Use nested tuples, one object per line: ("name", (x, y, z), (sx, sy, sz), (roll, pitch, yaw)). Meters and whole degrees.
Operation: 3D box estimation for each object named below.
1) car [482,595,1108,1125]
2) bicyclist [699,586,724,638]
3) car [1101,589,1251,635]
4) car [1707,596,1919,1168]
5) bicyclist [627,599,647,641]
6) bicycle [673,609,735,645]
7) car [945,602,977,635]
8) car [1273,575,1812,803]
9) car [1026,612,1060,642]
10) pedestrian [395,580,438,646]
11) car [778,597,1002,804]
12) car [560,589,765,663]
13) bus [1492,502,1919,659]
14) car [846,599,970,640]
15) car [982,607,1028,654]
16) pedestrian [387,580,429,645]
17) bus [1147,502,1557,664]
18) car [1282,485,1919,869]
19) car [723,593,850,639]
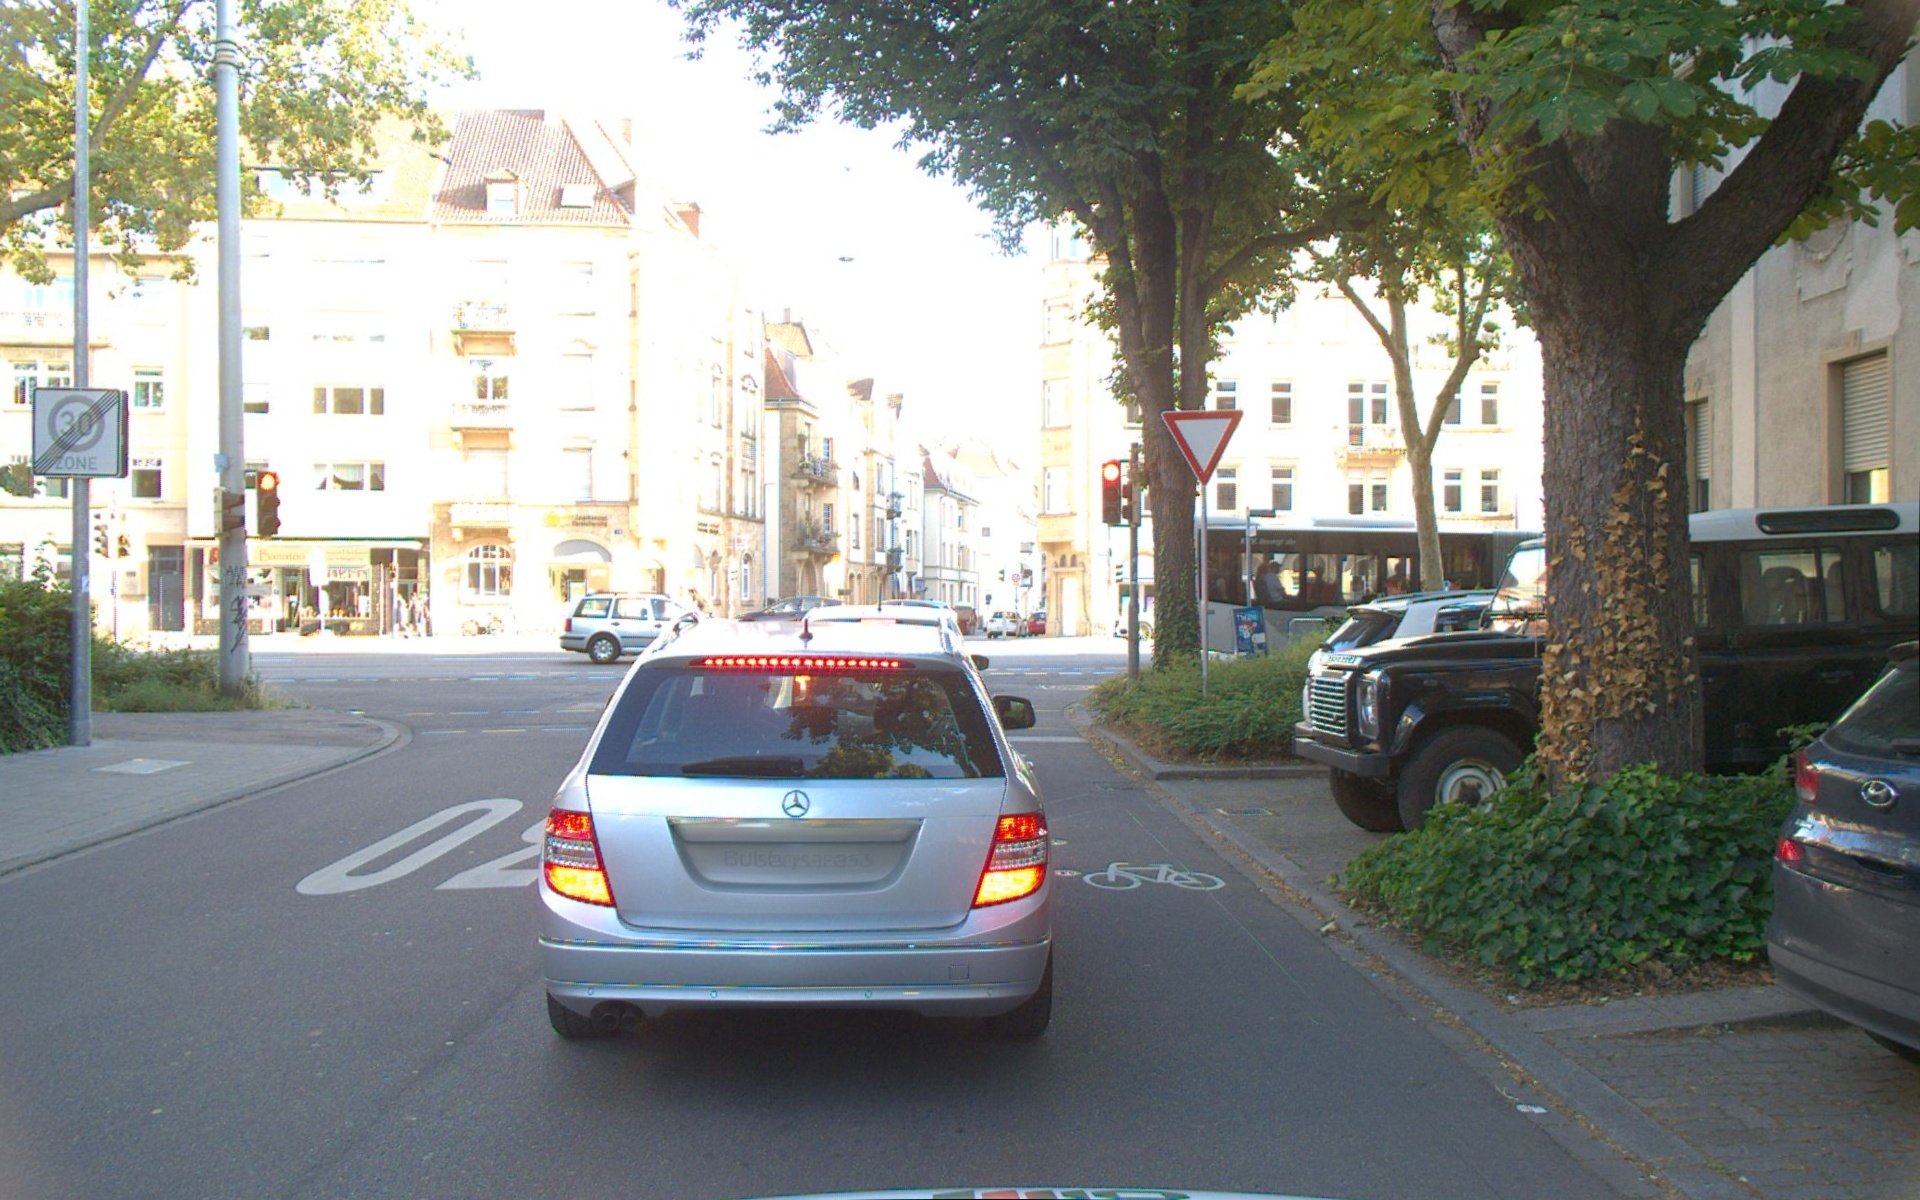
("car", (-0.549, 0.735, 6.931), (1.741, 1.477, 4.546), (1, 0, -2))
("bicyclist", (-9.100, 0.426, 60.503), (0.874, 1.892, 0.636), (0, 0, -5))
("car", (7.119, 0.391, 54.716), (4.613, 1.486, 1.834), (0, 0, -7))
("car", (4.286, 0.698, 4.594), (3.650, 1.477, 1.707), (-1, 0, -4))
("bicyclist", (-11.223, 0.682, 57.496), (0.631, 1.451, 0.636), (0, 0, -6))
("bicycle", (-9.353, 0.985, 60.473), (2.212, 1.268, 0.636), (0, 0, -5))
("car", (0.087, 1.272, 117.322), (1.749, 2.242, 4.003), (0, 1, 7))
("car", (4.512, 0.655, 13.140), (3.650, 1.597, 1.707), (-1, 0, -4))
("car", (5.121, 1.647, 101.975), (1.796, 1.775, 4.003), (0, 1, 7))
("pedestrian", (-20.904, 0.496, 63.639), (1.320, 2.507, 1.059), (0, 0, -5))
("car", (-0.589, 0.724, 14.021), (1.587, 1.472, 4.342), (1, 0, -2))
("car", (-6.358, 0.537, 35.690), (4.263, 1.523, 1.659), (0, 0, -7))
("bus", (17.280, -0.456, 36.666), (10.258, 3.257, 2.906), (-1, 0, -9))
("car", (-1.797, 0.669, 56.646), (4.140, 1.372, 1.662), (0, 0, -7))
("car", (2.357, 1.545, 85.902), (1.987, 2.319, 4.003), (0, 1, 7))
("pedestrian", (-21.611, 0.495, 64.733), (1.320, 2.507, 1.059), (0, 0, -5))
("bus", (8.251, -0.390, 35.262), (8.024, 3.257, 2.906), (-1, 0, -9))
("car", (4.371, 0.408, 10.172), (4.377, 2.072, 1.699), (-1, 0, -4))
("car", (-5.496, 0.499, 52.543), (3.956, 1.384, 1.661), (0, 0, -7))
